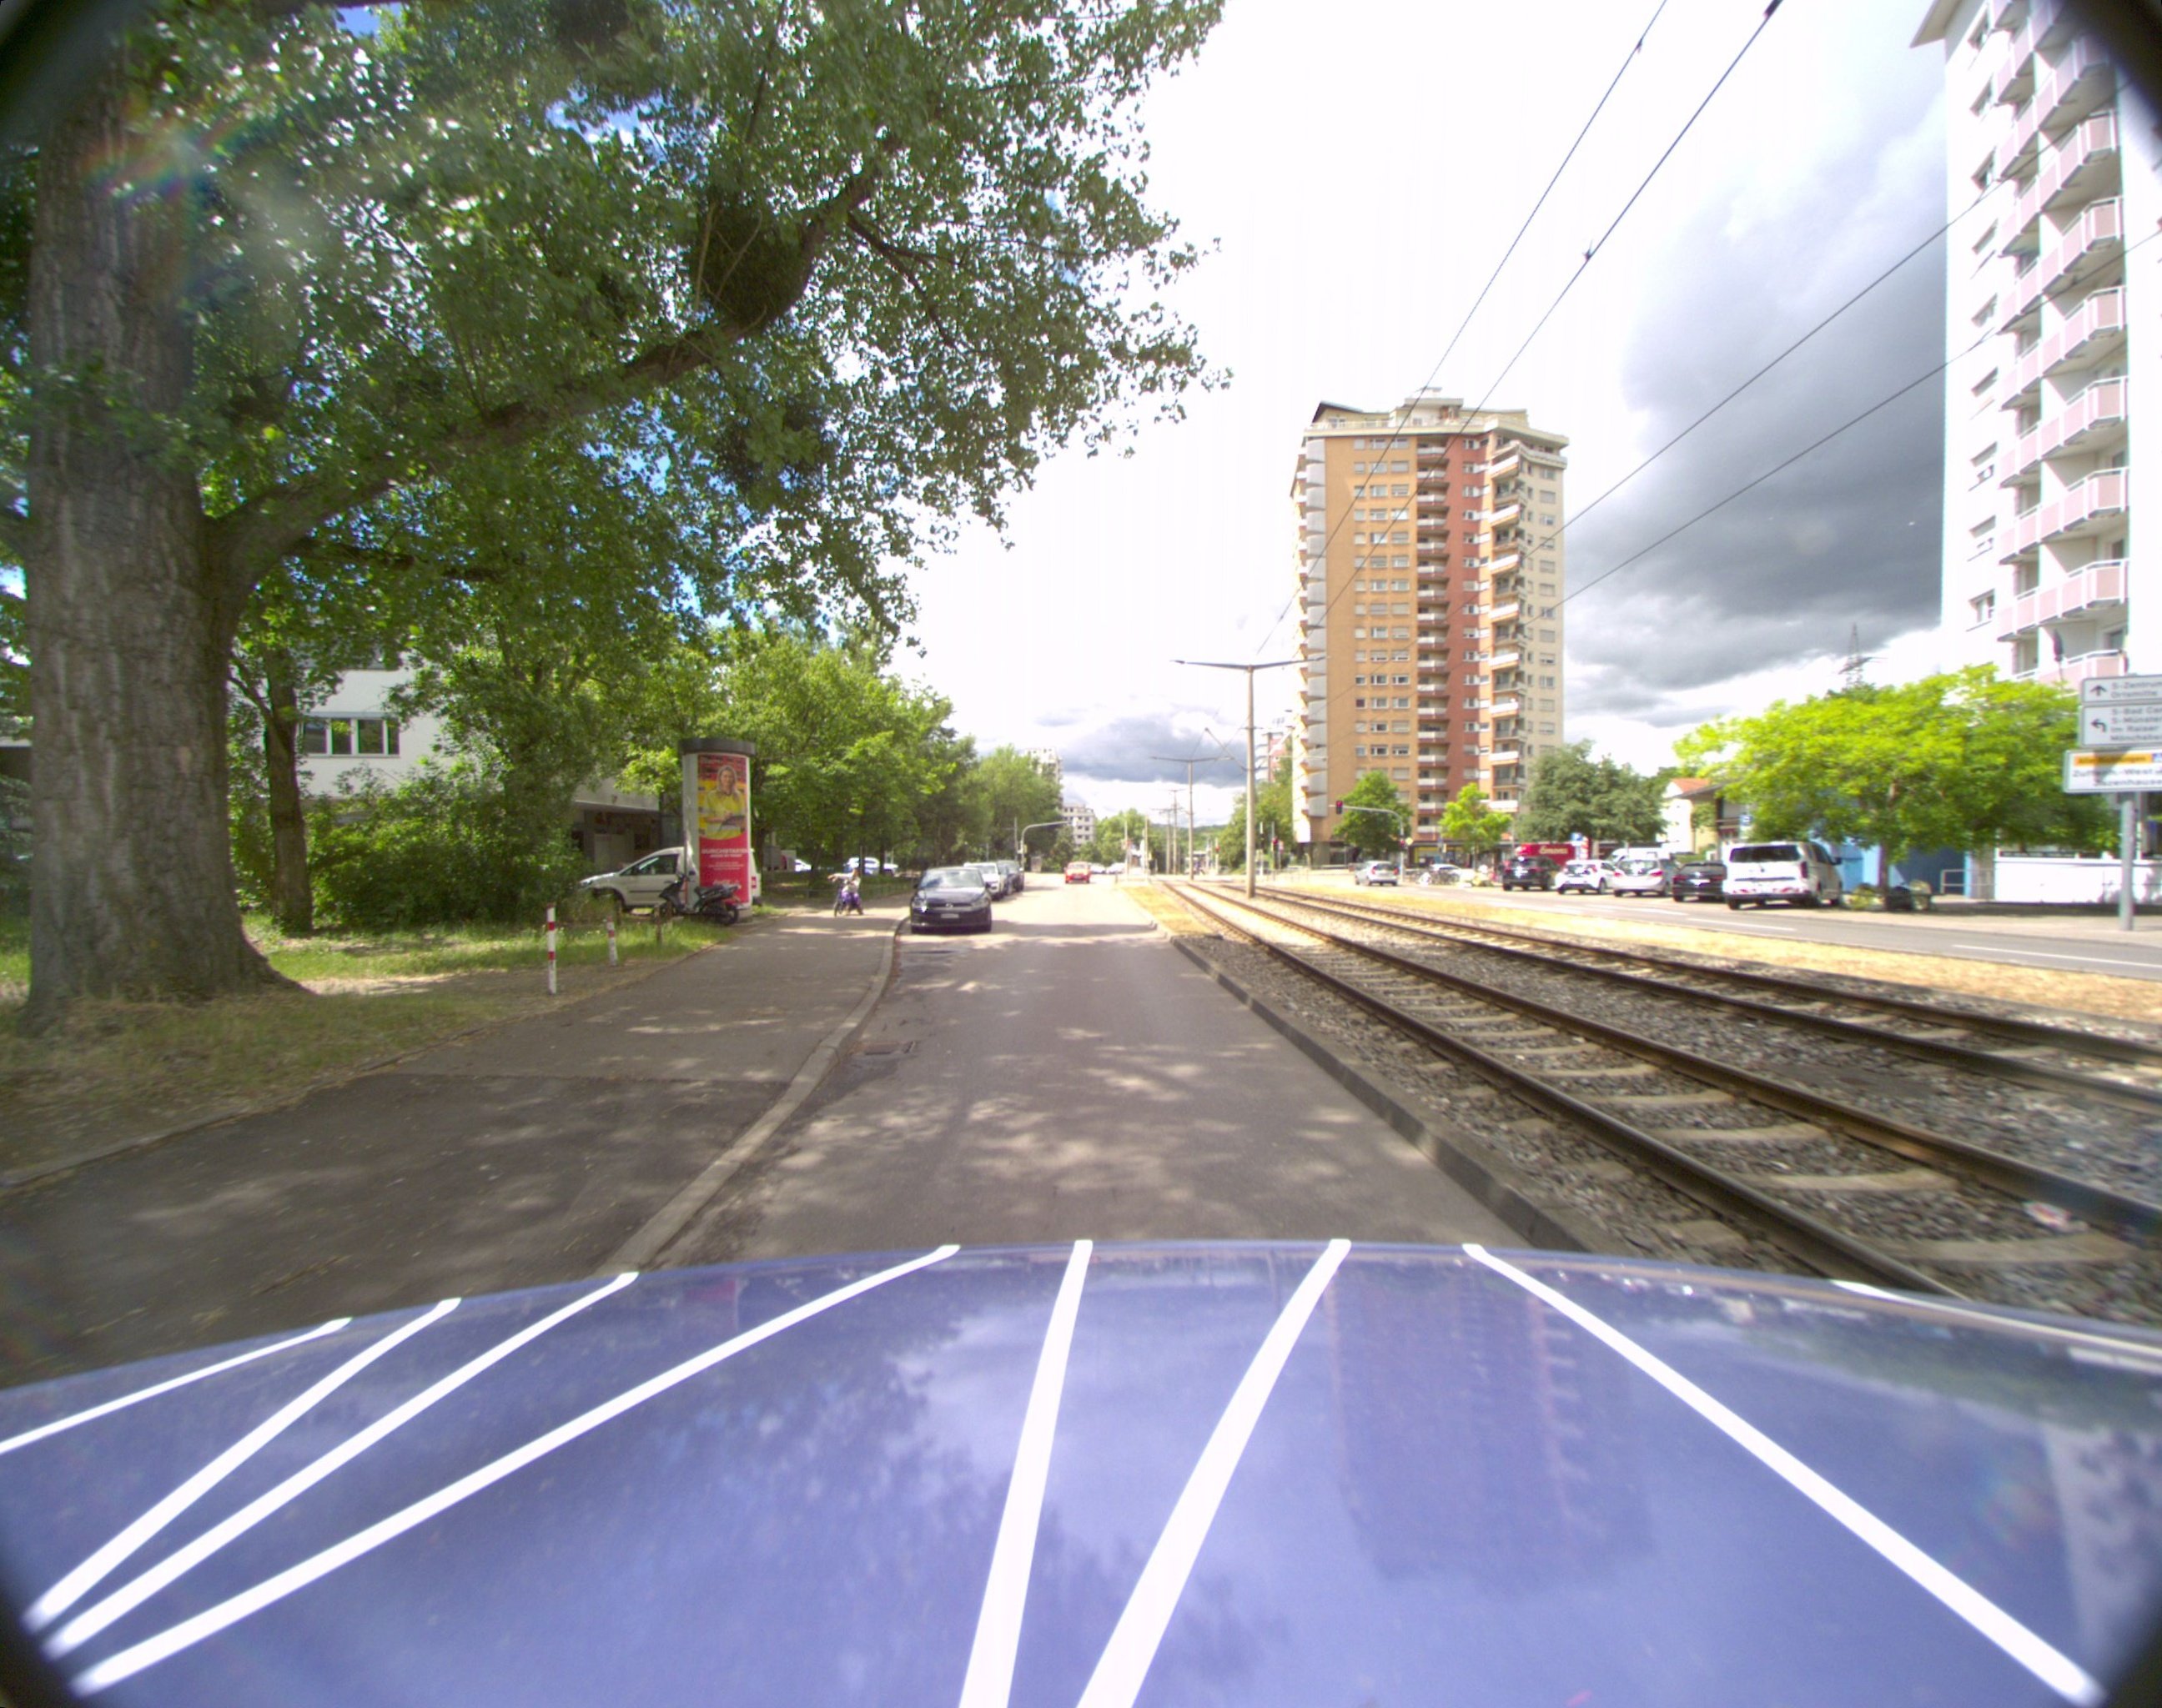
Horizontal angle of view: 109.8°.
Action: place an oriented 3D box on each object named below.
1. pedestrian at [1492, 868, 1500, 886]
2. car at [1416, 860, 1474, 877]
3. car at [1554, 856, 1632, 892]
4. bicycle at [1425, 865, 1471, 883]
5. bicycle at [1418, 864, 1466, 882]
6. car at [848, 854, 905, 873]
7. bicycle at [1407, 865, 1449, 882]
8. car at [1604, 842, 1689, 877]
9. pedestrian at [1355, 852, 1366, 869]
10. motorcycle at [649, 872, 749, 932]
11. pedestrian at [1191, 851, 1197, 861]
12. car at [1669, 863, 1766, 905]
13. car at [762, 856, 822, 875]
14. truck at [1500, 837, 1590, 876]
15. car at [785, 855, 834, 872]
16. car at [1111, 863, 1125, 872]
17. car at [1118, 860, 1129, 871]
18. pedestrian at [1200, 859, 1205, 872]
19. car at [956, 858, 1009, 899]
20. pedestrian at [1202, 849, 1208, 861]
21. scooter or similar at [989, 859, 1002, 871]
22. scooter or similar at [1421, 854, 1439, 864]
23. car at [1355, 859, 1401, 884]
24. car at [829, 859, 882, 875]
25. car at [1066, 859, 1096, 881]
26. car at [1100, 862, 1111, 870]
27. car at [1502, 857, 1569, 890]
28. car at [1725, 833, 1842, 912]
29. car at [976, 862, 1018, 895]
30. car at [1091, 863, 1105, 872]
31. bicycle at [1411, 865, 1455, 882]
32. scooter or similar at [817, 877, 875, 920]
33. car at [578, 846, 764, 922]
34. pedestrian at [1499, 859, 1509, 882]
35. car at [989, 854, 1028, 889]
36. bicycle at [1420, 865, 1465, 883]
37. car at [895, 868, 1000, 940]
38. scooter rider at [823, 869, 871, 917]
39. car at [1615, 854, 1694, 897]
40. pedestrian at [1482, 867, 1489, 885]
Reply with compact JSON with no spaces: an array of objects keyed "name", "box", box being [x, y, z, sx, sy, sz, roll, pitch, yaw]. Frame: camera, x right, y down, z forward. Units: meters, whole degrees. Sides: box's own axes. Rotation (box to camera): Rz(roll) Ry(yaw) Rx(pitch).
[{"name":"pedestrian","box":[33.811,1.877,61.925,0.571,1.463,0.527,1,0,29]},{"name":"car","box":[32.227,1.285,67.298,4.270,1.442,1.796,1,0,6]},{"name":"car","box":[22.773,0.869,33.740,3.774,1.487,1.742,1,-1,-37]},{"name":"bicycle","box":[22.522,1.236,46.640,2.432,1.060,0.705,1,0,3]},{"name":"bicycle","box":[21.424,1.125,45.122,2.432,1.028,0.717,-1,0,3]},{"name":"car","box":[-18.192,0.849,67.805,4.654,1.583,1.922,1,2,-4]},{"name":"bicycle","box":[22.733,1.272,49.775,2.432,1.060,0.705,1,0,3]},{"name":"car","box":[54.486,0.555,73.328,6.294,3.279,2.002,1,0,11]},{"name":"pedestrian","box":[32.021,0.741,87.072,0.920,1.923,0.854,1,0,4]},{"name":"motorcycle","box":[-8.070,1.001,16.125,1.803,1.203,0.711,1,0,-20]},{"name":"pedestrian","box":[18.483,0.353,124.411,0.865,1.596,0.748,1,0,3]},{"name":"car","box":[22.590,1.026,26.913,4.008,1.375,1.901,1,-1,-39]},{"name":"car","box":[-24.394,0.967,64.305,4.403,1.407,1.950,1,2,-6]},{"name":"truck","box":[45.825,0.256,75.191,7.089,3.653,2.549,1,0,9]},{"name":"car","box":[-24.112,0.855,67.577,3.897,1.405,1.607,1,2,-6]},{"name":"car","box":[5.293,1.918,108.660,1.805,1.207,4.023,1,-1,4]},{"name":"car","box":[8.828,2.353,158.176,1.998,2.135,4.000,1,0,1]},{"name":"pedestrian","box":[19.322,1.819,120.852,0.770,1.920,0.573,1,0,2]},{"name":"car","box":[-4.008,0.957,31.454,1.788,1.556,4.569,1,-1,-3]},{"name":"pedestrian","box":[18.571,0.164,113.692,0.865,1.763,0.748,1,0,3]},{"name":"scooter or similar","box":[-9.815,1.253,87.181,1.212,1.284,0.534,-3,-3,-30]},{"name":"scooter or similar","box":[40.507,0.592,88.229,1.751,1.087,0.545,1,0,0]},{"name":"car","box":[18.957,1.079,48.637,1.822,1.523,3.757,1,-1,6]},{"name":"car","box":[-19.186,1.128,64.735,3.970,1.218,1.912,1,2,-4]},{"name":"car","box":[0.038,1.100,53.586,1.818,1.483,4.001,-1,0,3]},{"name":"car","box":[4.075,2.020,128.201,1.780,1.319,3.726,1,-1,2]},{"name":"car","box":[22.971,0.955,38.346,4.009,1.582,1.927,1,-1,-44]},{"name":"car","box":[21.131,0.549,22.797,4.772,2.144,1.901,1,0,-39]},{"name":"car","box":[-3.955,1.121,36.204,1.648,1.449,4.075,1,-1,-2]},{"name":"car","box":[2.389,1.806,103.685,1.605,1.207,3.773,1,-1,6]},{"name":"bicycle","box":[22.679,1.263,48.977,2.432,1.060,0.705,1,0,3]},{"name":"scooter or similar","box":[-6.219,1.154,20.235,0.892,1.058,2.114,1,-1,0]},{"name":"car","box":[-10.428,0.764,19.675,4.004,1.812,1.807,1,0,-21]},{"name":"pedestrian","box":[29.935,1.149,53.775,0.417,1.633,0.601,1,0,1]},{"name":"car","box":[-3.813,0.919,40.702,1.648,1.752,4.569,1,-1,0]},{"name":"bicycle","box":[22.536,1.244,47.417,2.432,1.060,0.705,1,0,3]},{"name":"car","box":[-2.952,1.066,17.522,1.820,1.440,3.826,1,-1,-2]},{"name":"scooter rider","box":[-6.225,1.022,20.293,0.887,1.213,1.282,1,-1,0]},{"name":"car","box":[23.332,0.853,30.874,4.009,1.622,1.901,1,-1,-43]},{"name":"pedestrian","box":[33.099,1.828,62.198,0.517,1.463,0.527,1,0,29]}]
